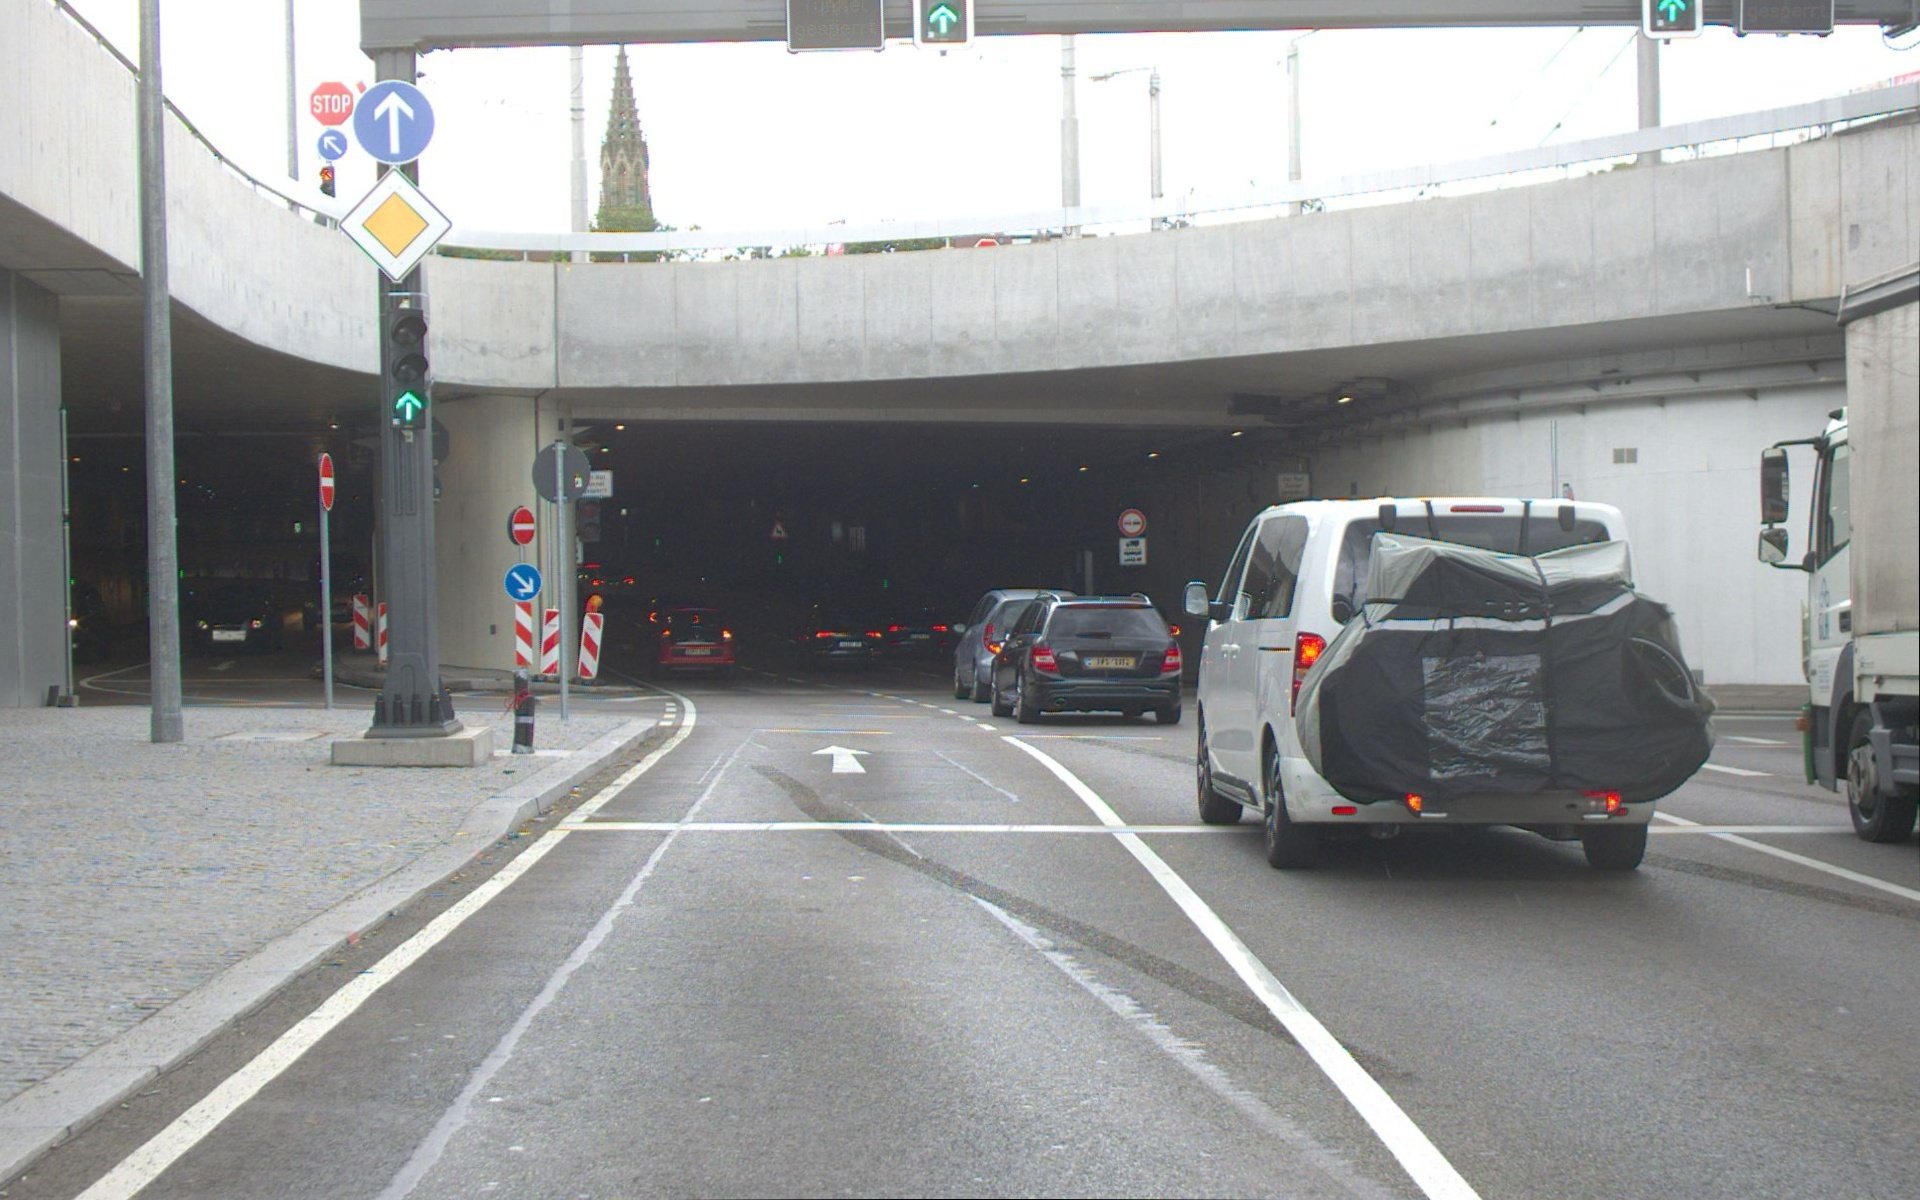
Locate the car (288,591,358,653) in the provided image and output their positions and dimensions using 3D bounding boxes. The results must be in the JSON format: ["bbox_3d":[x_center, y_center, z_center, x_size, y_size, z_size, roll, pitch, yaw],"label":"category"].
[{"bbox_3d":[-18.386,0.619,99.378,1.807,1.599,4.789,-1,2,-8],"label":"car"}]

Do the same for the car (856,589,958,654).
[{"bbox_3d":[-1.436,0.557,91.282,1.989,1.670,4.509,0,0,-10],"label":"car"}]

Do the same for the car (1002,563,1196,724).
[{"bbox_3d":[1.489,0.511,38.148,1.818,1.678,4.000,1,-2,-2],"label":"car"}]

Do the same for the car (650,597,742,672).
[{"bbox_3d":[-5.417,0.687,70.209,1.659,1.483,3.568,0,0,-8],"label":"car"}]

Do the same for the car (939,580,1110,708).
[{"bbox_3d":[0.862,0.584,48.291,1.818,1.575,4.001,3,1,-6],"label":"car"}]

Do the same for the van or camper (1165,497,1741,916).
[{"bbox_3d":[2.362,0.409,18.068,1.993,1.839,5.509,1,1,-2],"label":"van or camper"}]

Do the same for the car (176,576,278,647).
[{"bbox_3d":[-15.838,0.232,74.124,1.664,1.436,4.114,-1,1,-19],"label":"car"}]

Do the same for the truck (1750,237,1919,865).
[{"bbox_3d":[6.187,-0.250,17.006,2.649,3.174,7.427,-1,1,-1],"label":"truck"}]

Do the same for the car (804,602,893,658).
[{"bbox_3d":[-2.567,0.682,78.332,1.663,1.243,3.568,0,0,-8],"label":"car"}]

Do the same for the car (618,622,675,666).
[{"bbox_3d":[-9.204,1.278,100.901,1.508,1.243,3.568,0,0,-8],"label":"car"}]

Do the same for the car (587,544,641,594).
[{"bbox_3d":[-14.075,-1.272,139.682,1.993,2.007,4.001,0,1,-8],"label":"car"}]
